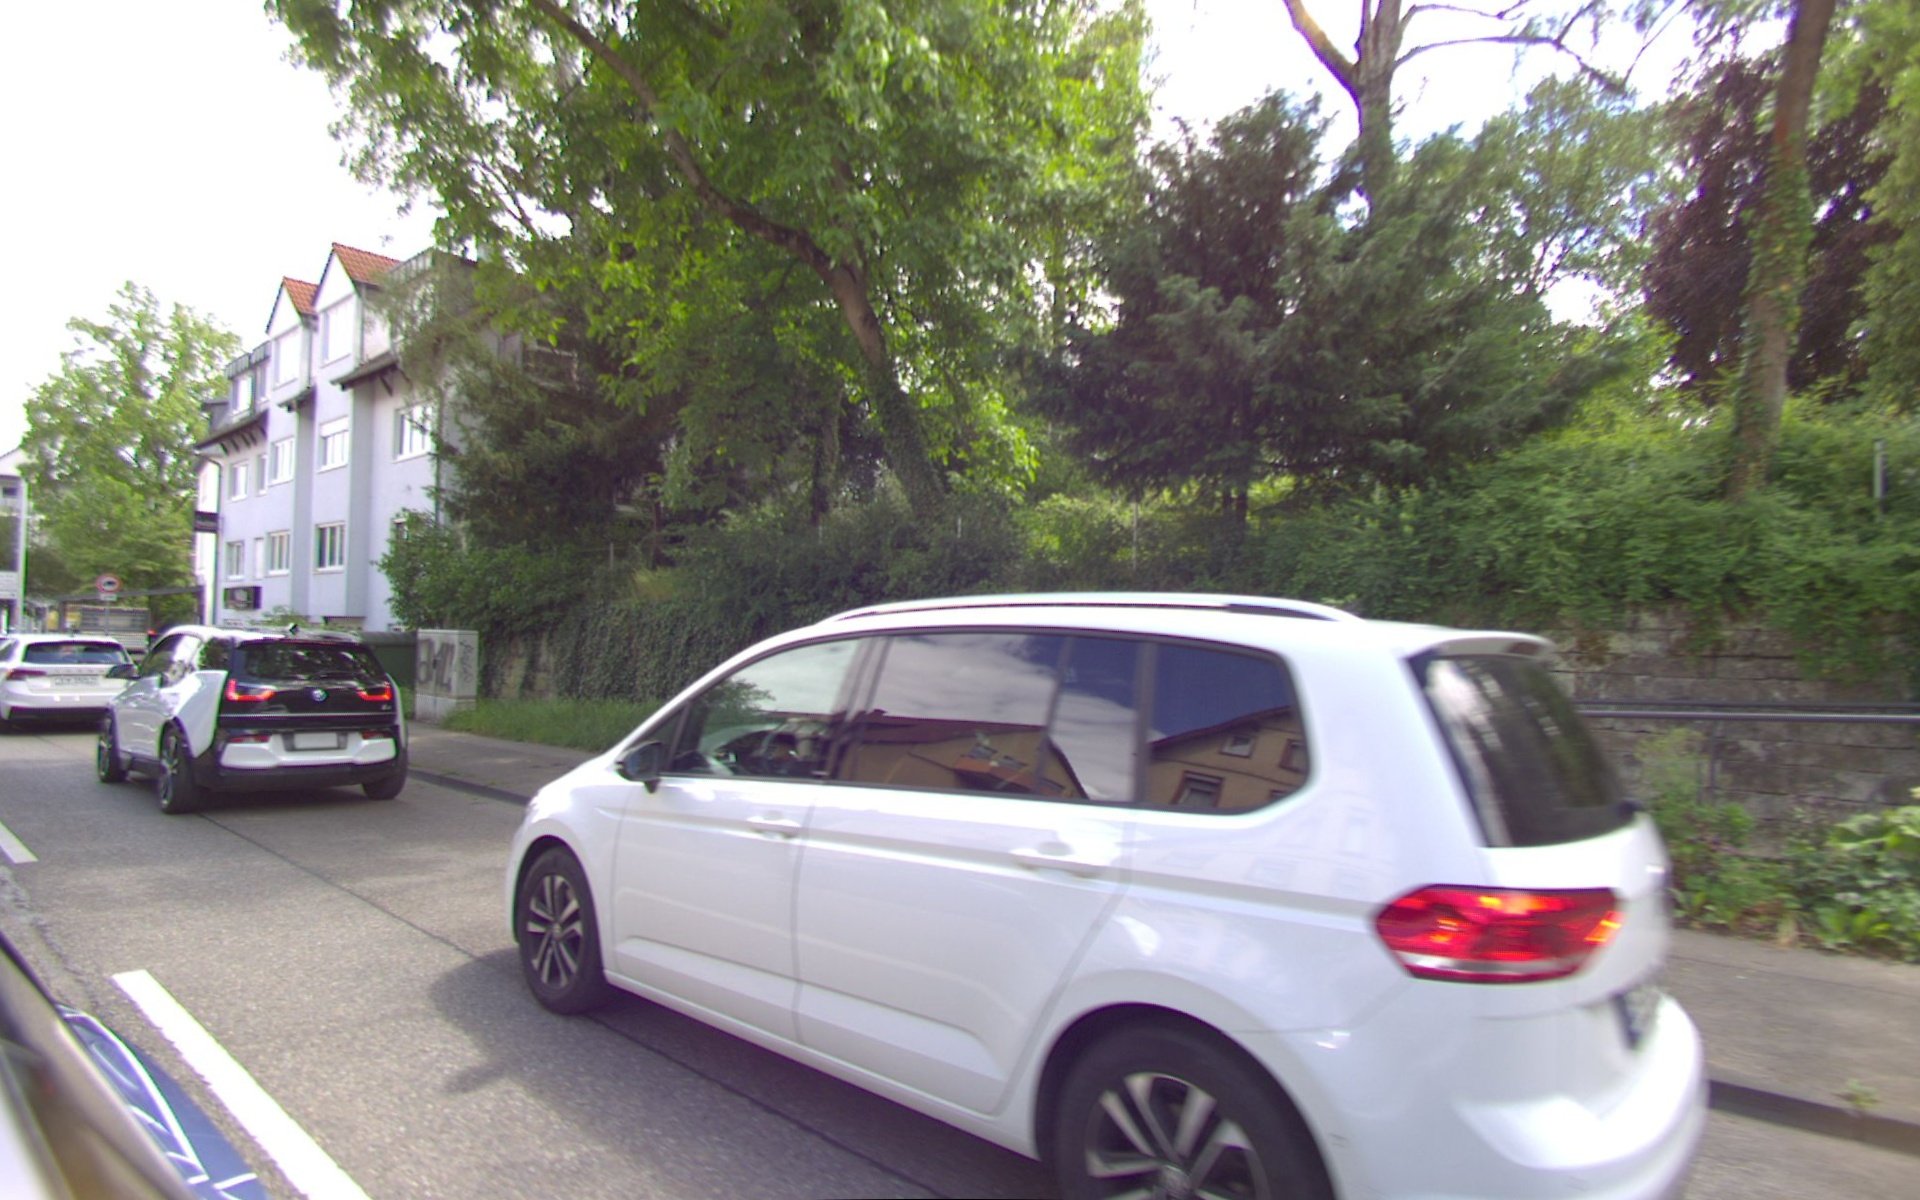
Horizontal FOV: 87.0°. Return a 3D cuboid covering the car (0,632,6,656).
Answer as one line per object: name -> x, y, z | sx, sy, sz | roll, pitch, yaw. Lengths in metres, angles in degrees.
car -> -62.830, 2.803, 63.478 | 1.820, 1.525, 4.169 | -3, -3, 40

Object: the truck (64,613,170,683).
truck -> -31.094, 1.696, 37.238 | 6.326, 2.398, 2.200 | -1, -3, 44

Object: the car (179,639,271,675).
car -> -32.075, 2.480, 44.252 | 2.801, 1.481, 1.570 | 2, -2, -11

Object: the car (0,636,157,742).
car -> -14.148, 1.338, 15.787 | 3.967, 1.450, 1.741 | -2, -5, 41

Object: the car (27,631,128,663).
car -> -56.974, 3.006, 65.402 | 2.092, 2.024, 4.577 | -2, -3, 37

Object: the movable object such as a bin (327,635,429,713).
movable object such as a bin -> -11.412, 1.419, 19.852 | 1.211, 1.438, 1.318 | -1, -2, 34

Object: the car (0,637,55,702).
car -> -23.526, 1.618, 24.533 | 4.283, 1.467, 1.692 | -1, -6, 40

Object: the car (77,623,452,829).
car -> -6.823, 1.099, 9.780 | 4.084, 1.558, 1.908 | -2, -7, 41

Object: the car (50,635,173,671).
car -> -35.954, 2.219, 42.938 | 1.802, 1.436, 3.658 | -1, -3, 37

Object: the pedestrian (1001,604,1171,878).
pedestrian -> 0.845, 0.879, 6.780 | 0.930, 1.679, 0.647 | -1, -2, 36
